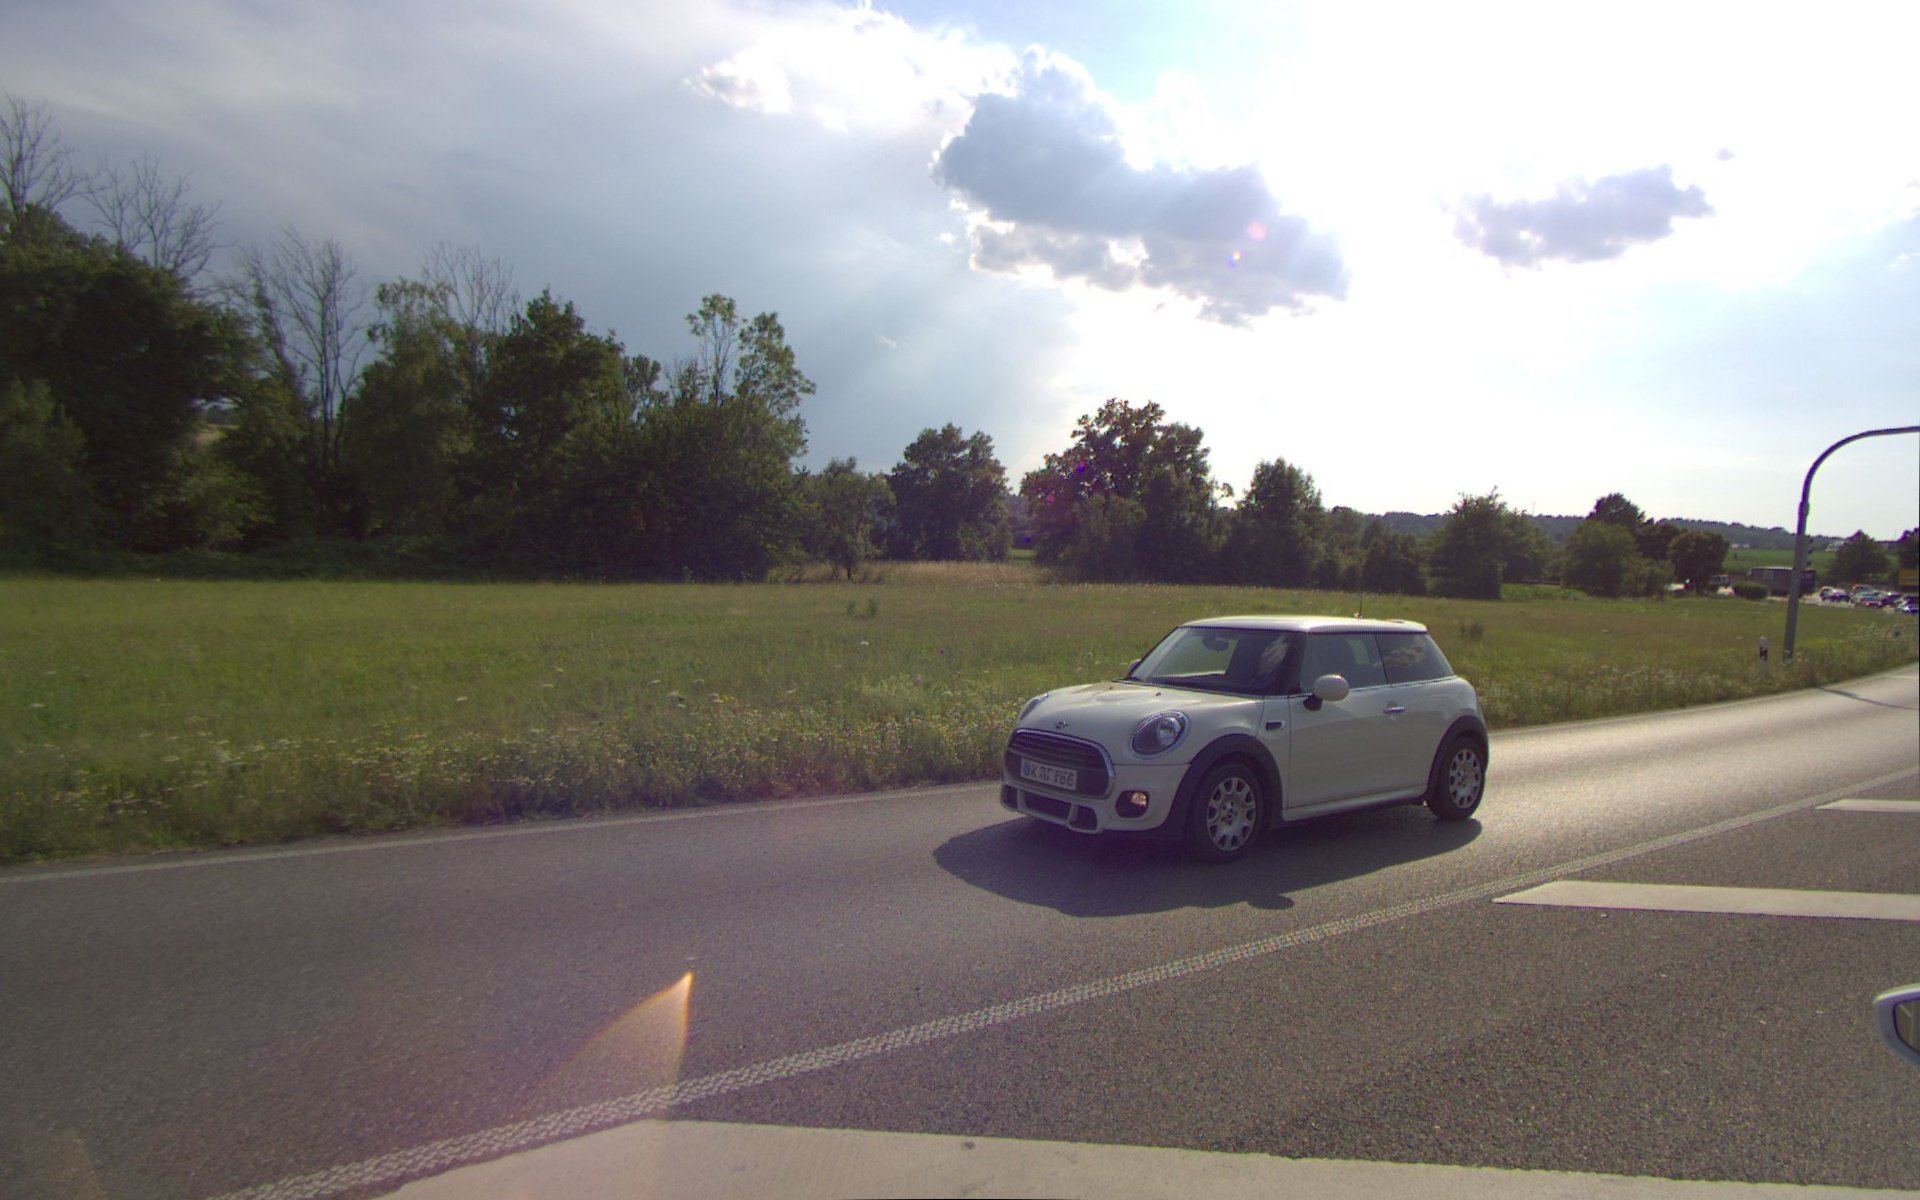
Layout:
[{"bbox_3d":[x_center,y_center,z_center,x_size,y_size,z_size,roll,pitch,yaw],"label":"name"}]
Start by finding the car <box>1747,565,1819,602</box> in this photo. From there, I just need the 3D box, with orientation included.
[{"bbox_3d":[121.297,-2.395,148.352,3.482,5.127,13.242,2,1,19],"label":"car"}]

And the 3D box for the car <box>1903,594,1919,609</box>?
[{"bbox_3d":[101.534,0.190,105.961,2.055,1.621,3.991,3,2,31],"label":"car"}]

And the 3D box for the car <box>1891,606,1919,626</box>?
[{"bbox_3d":[80.413,1.348,85.112,1.859,1.621,3.983,3,2,39],"label":"car"}]

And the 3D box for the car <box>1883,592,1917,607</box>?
[{"bbox_3d":[105.164,-0.046,112.386,1.854,1.621,3.992,3,2,30],"label":"car"}]

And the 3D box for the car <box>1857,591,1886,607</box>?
[{"bbox_3d":[93.340,-0.089,102.879,1.859,1.621,3.983,3,2,39],"label":"car"}]

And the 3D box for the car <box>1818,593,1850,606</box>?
[{"bbox_3d":[114.713,-0.029,131.821,1.851,1.621,3.999,3,1,21],"label":"car"}]

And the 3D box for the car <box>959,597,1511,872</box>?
[{"bbox_3d":[2.014,0.751,7.048,3.709,1.455,1.710,2,-1,-33],"label":"car"}]

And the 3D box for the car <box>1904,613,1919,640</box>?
[{"bbox_3d":[60.430,1.669,62.645,1.859,1.621,3.982,3,2,39],"label":"car"}]

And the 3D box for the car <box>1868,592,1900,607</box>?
[{"bbox_3d":[107.978,-0.101,117.407,1.854,1.621,3.993,3,2,29],"label":"car"}]
